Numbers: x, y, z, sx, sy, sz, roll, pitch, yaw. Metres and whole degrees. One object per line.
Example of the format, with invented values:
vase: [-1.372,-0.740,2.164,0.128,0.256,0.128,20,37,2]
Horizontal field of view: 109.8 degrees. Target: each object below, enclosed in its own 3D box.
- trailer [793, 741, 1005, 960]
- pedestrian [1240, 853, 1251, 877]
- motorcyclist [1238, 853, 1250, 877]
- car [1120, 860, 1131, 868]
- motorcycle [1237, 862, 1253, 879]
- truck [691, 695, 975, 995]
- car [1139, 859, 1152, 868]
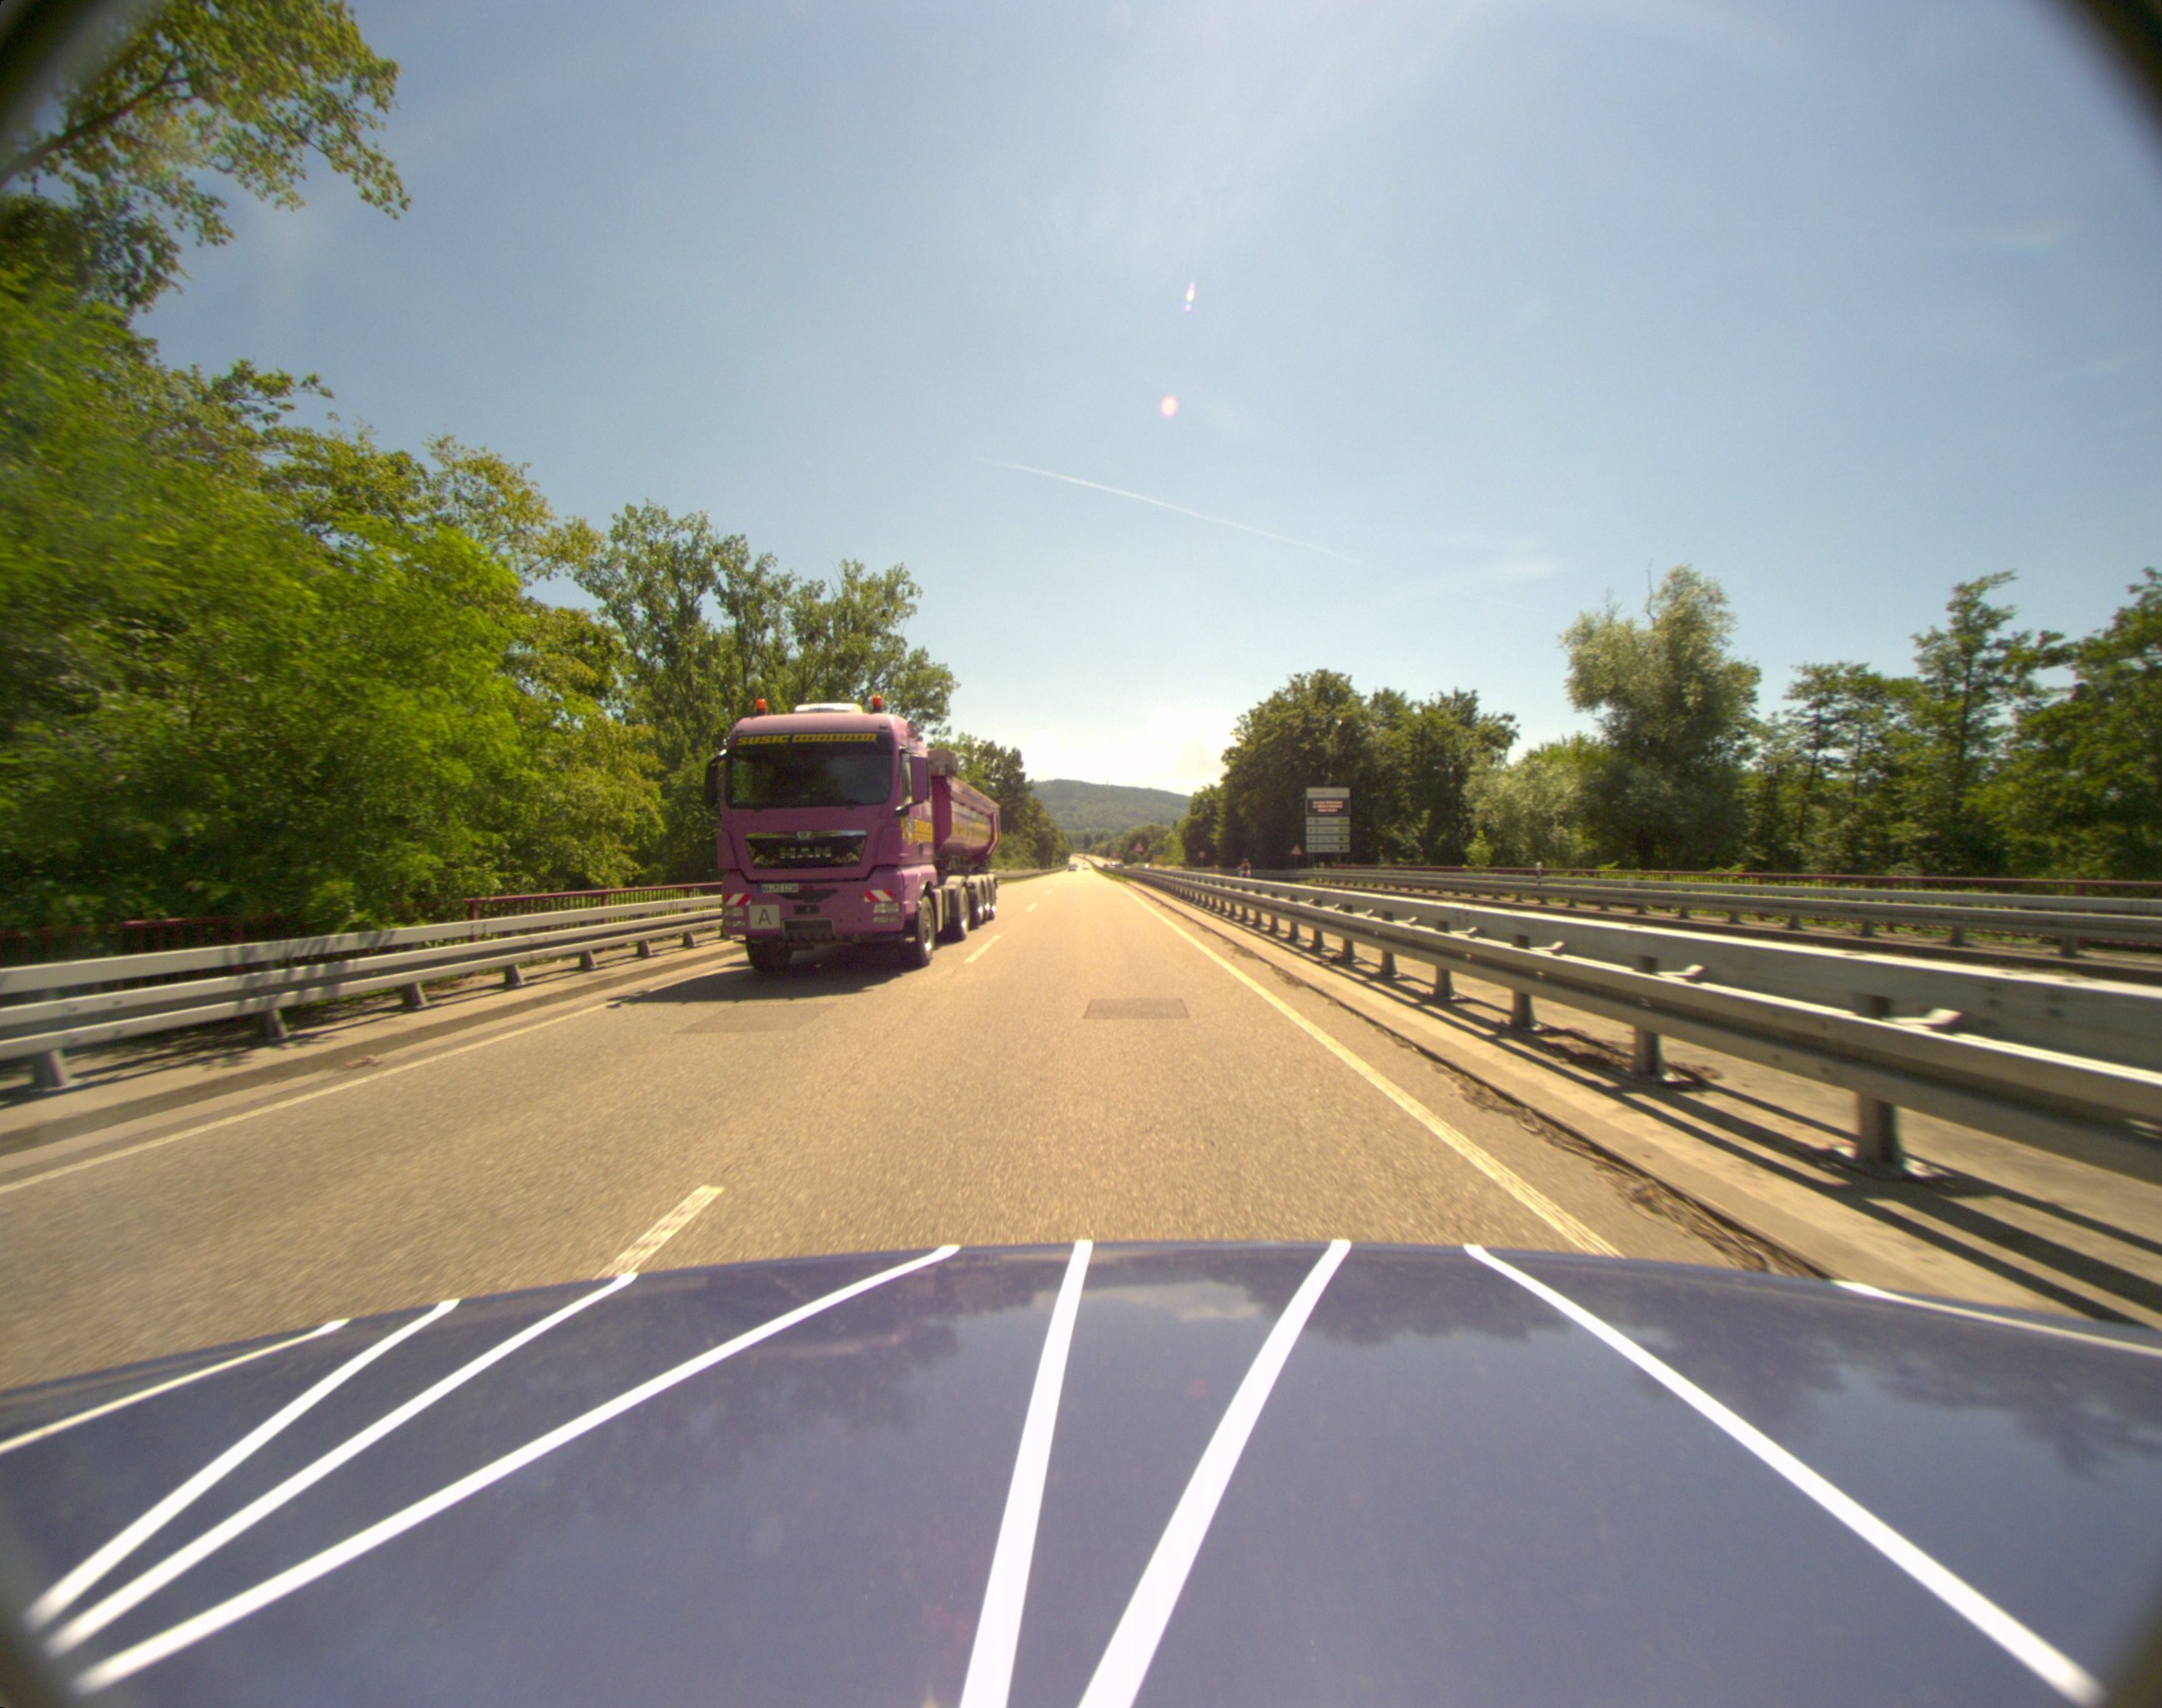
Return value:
trailer: [-3.478,-0.041,17.056,2.605,3.608,8.613,-2,0,0]
pedestrian: [10.860,0.735,50.124,0.616,1.531,0.494,-1,1,1]
motorcyclist: [10.869,0.731,50.782,0.616,1.531,0.776,-1,1,1]
car: [9.034,2.105,155.901,1.998,1.652,4.389,-1,0,0]
motorcycle: [10.861,1.068,50.428,0.616,1.097,2.313,-1,0,1]
truck: [-3.502,-0.100,12.454,2.605,3.670,5.938,-2,0,0]
car: [12.127,1.759,142.370,1.998,1.485,5.444,-1,0,1]
